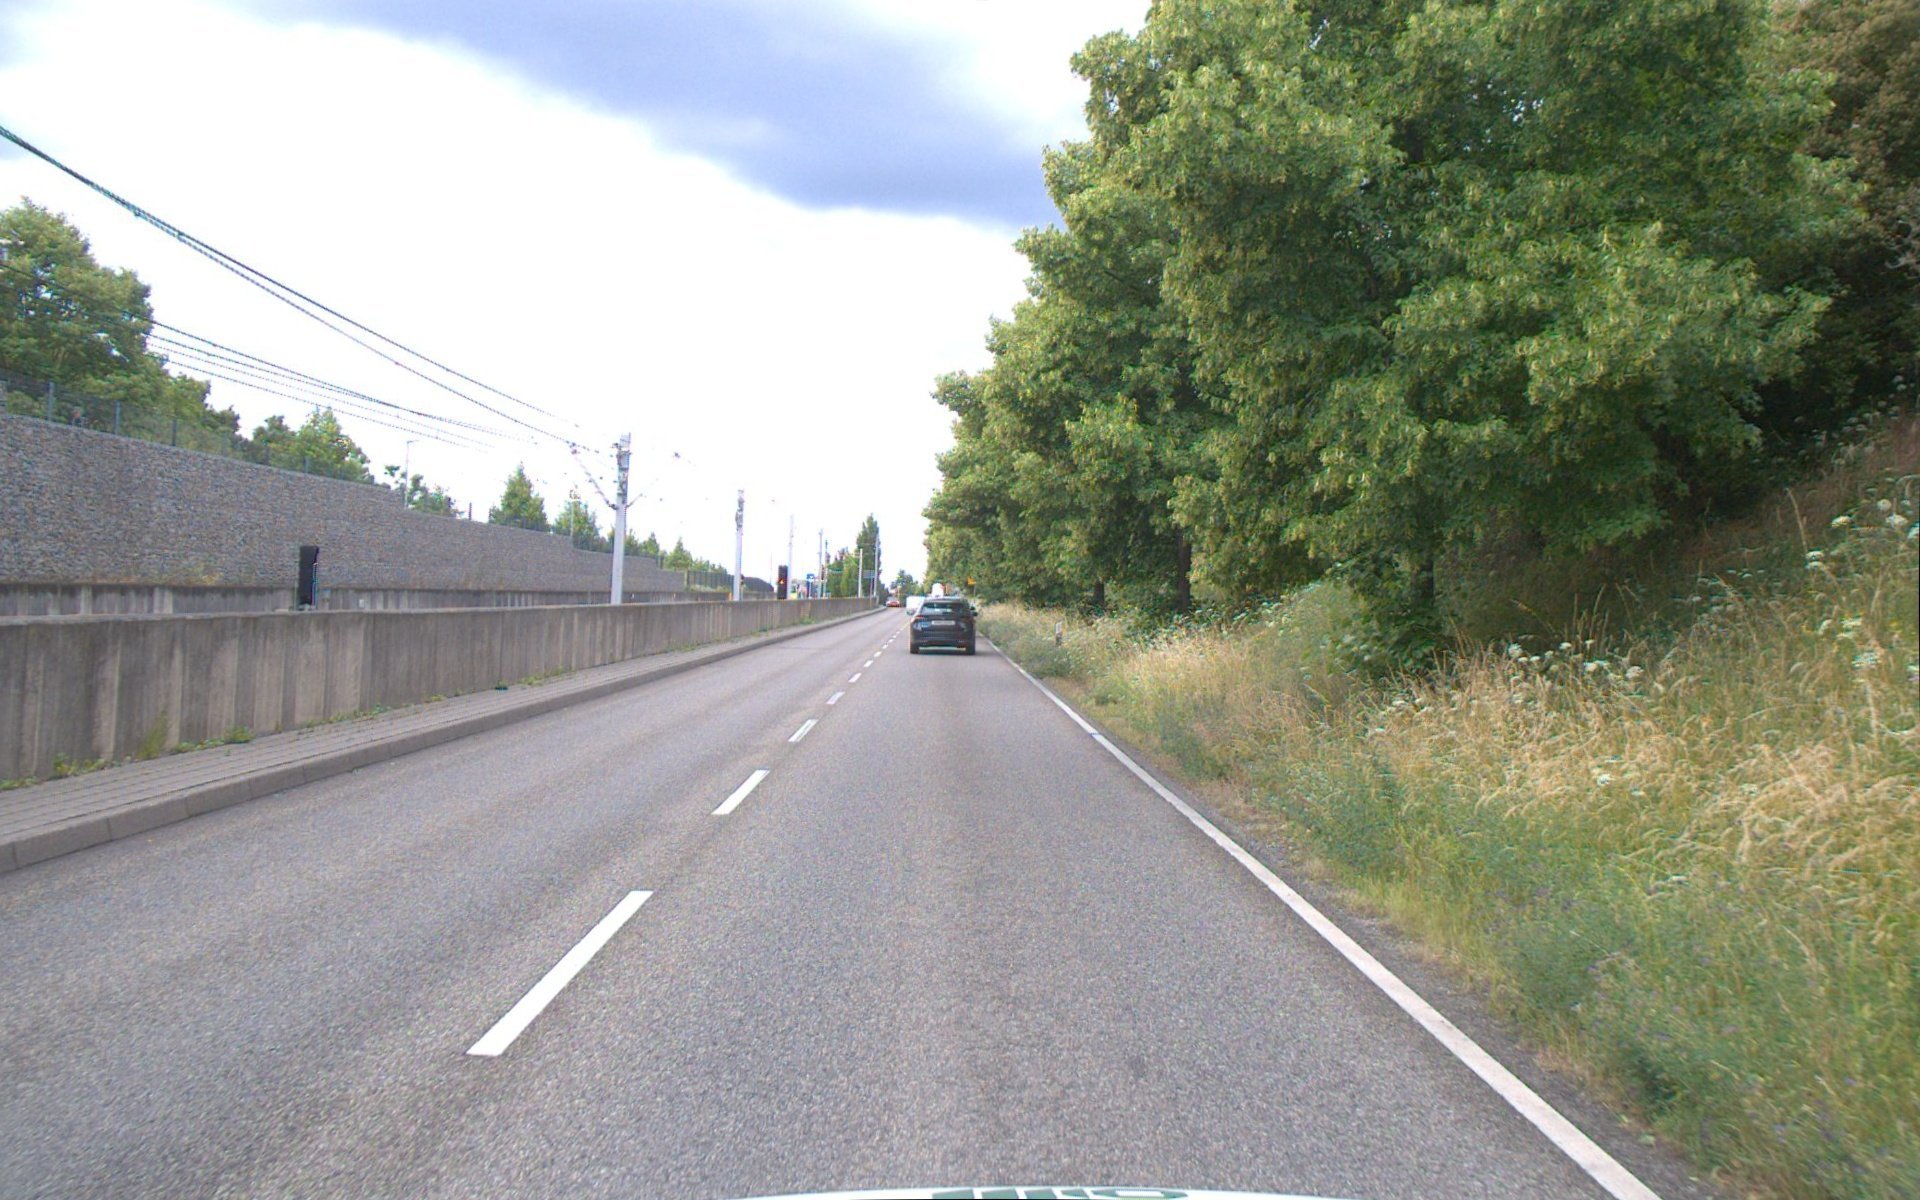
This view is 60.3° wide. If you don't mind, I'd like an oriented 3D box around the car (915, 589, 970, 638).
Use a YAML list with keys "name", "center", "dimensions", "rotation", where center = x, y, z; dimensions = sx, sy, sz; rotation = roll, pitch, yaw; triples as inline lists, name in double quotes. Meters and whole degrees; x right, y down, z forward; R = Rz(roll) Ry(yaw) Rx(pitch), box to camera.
- name: "car"
  center: [-0.664, 0.489, 62.244]
  dimensions: [1.953, 1.783, 3.999]
  rotation: [1, 0, -1]

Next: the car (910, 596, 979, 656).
- name: "car"
  center: [-0.417, 0.663, 44.208]
  dimensions: [1.745, 1.493, 3.999]
  rotation: [1, 0, -1]

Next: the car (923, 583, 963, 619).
- name: "car"
  center: [-0.857, 0.061, 83.919]
  dimensions: [1.953, 1.771, 3.999]
  rotation: [1, -1, -1]

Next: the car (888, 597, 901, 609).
- name: "car"
  center: [-8.775, 0.408, 221.437]
  dimensions: [1.629, 1.572, 3.951]
  rotation: [1, 0, -1]

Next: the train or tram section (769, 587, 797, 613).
- name: "train or tram section"
  center: [-24.103, 0.082, 224.937]
  dimensions: [2.760, 3.172, 18.873]
  rotation: [1, -1, -9]
